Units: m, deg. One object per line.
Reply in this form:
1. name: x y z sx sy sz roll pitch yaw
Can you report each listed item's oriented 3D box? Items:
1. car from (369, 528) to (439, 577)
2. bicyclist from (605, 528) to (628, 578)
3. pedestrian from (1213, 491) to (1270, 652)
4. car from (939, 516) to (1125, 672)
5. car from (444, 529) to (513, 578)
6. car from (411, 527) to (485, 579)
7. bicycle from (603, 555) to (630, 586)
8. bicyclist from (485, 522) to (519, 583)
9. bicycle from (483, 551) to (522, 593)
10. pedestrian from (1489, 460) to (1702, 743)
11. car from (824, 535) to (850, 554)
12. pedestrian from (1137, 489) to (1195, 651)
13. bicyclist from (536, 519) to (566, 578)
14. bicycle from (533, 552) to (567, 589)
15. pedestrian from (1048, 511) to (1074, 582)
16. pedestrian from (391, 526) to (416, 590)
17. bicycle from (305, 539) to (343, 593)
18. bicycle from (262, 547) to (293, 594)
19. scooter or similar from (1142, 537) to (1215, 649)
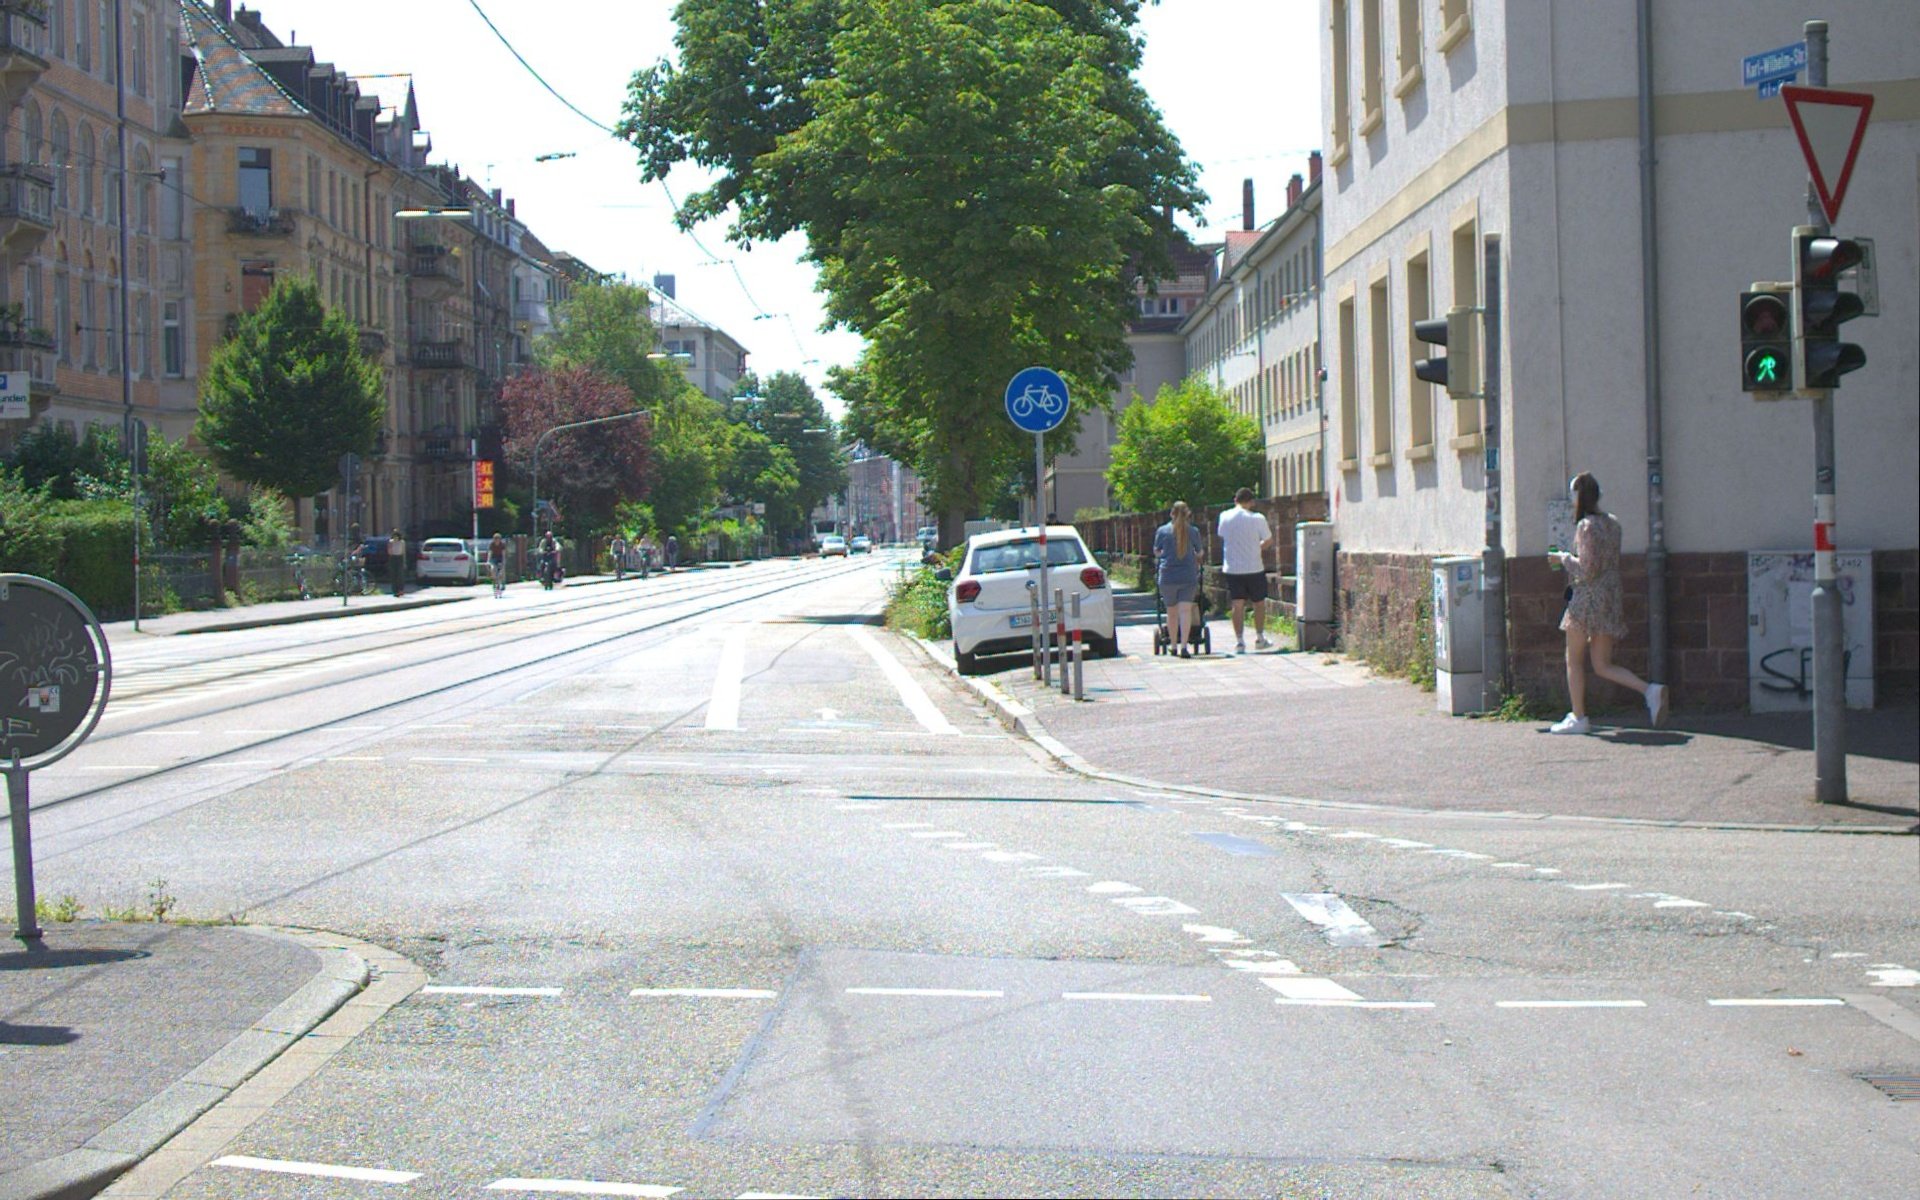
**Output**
1. car: -20.014 -1.692 123.911 1.919 1.709 4.000 1 1 -1
2. bicyclist: -12.693 -1.740 127.080 0.727 1.812 1.079 1 0 1
3. pedestrian: 2.911 -0.299 35.573 0.557 1.640 0.677 1 0 4
4. car: 0.724 -0.081 37.317 1.815 1.511 4.000 -3 1 -1
5. car: -17.327 -1.654 123.838 1.919 1.709 4.000 1 1 -1
6. car: -17.184 -1.570 115.574 1.919 1.709 4.000 1 1 -1
7. bicycle: -12.697 -1.098 127.081 0.727 1.119 2.085 1 1 1
8. bicyclist: -12.280 -1.281 92.285 0.727 1.623 1.079 1 0 1
9. bicycle: -12.272 -0.757 92.285 0.727 1.119 2.085 1 1 1
10. pedestrian: 4.065 0.011 21.967 1.055 1.684 0.653 -4 4 27
11. car: -8.528 -3.807 238.204 1.706 1.273 4.000 1 1 -1
12. pedestrian: 2.112 -0.307 35.226 0.557 1.640 0.677 1 0 4
13. bicyclist: -12.355 -1.555 103.836 0.727 1.762 1.079 1 0 1
14. bicycle: -12.370 -0.892 103.727 0.727 1.119 2.085 1 1 1
15. pedestrian: 2.241 -1.191 76.546 0.521 1.557 0.573 -1 1 -1
16. pedestrian: -14.420 -1.084 89.066 0.521 1.653 0.529 -1 1 -1
17. bicycle: -15.656 -0.844 84.677 0.677 1.274 1.919 -1 1 -3
18. bicycle: -15.900 -0.694 80.035 0.677 1.061 1.919 -1 1 -11
19. scooter or similar: 2.308 -0.072 36.174 0.557 1.151 1.204 1 0 13
